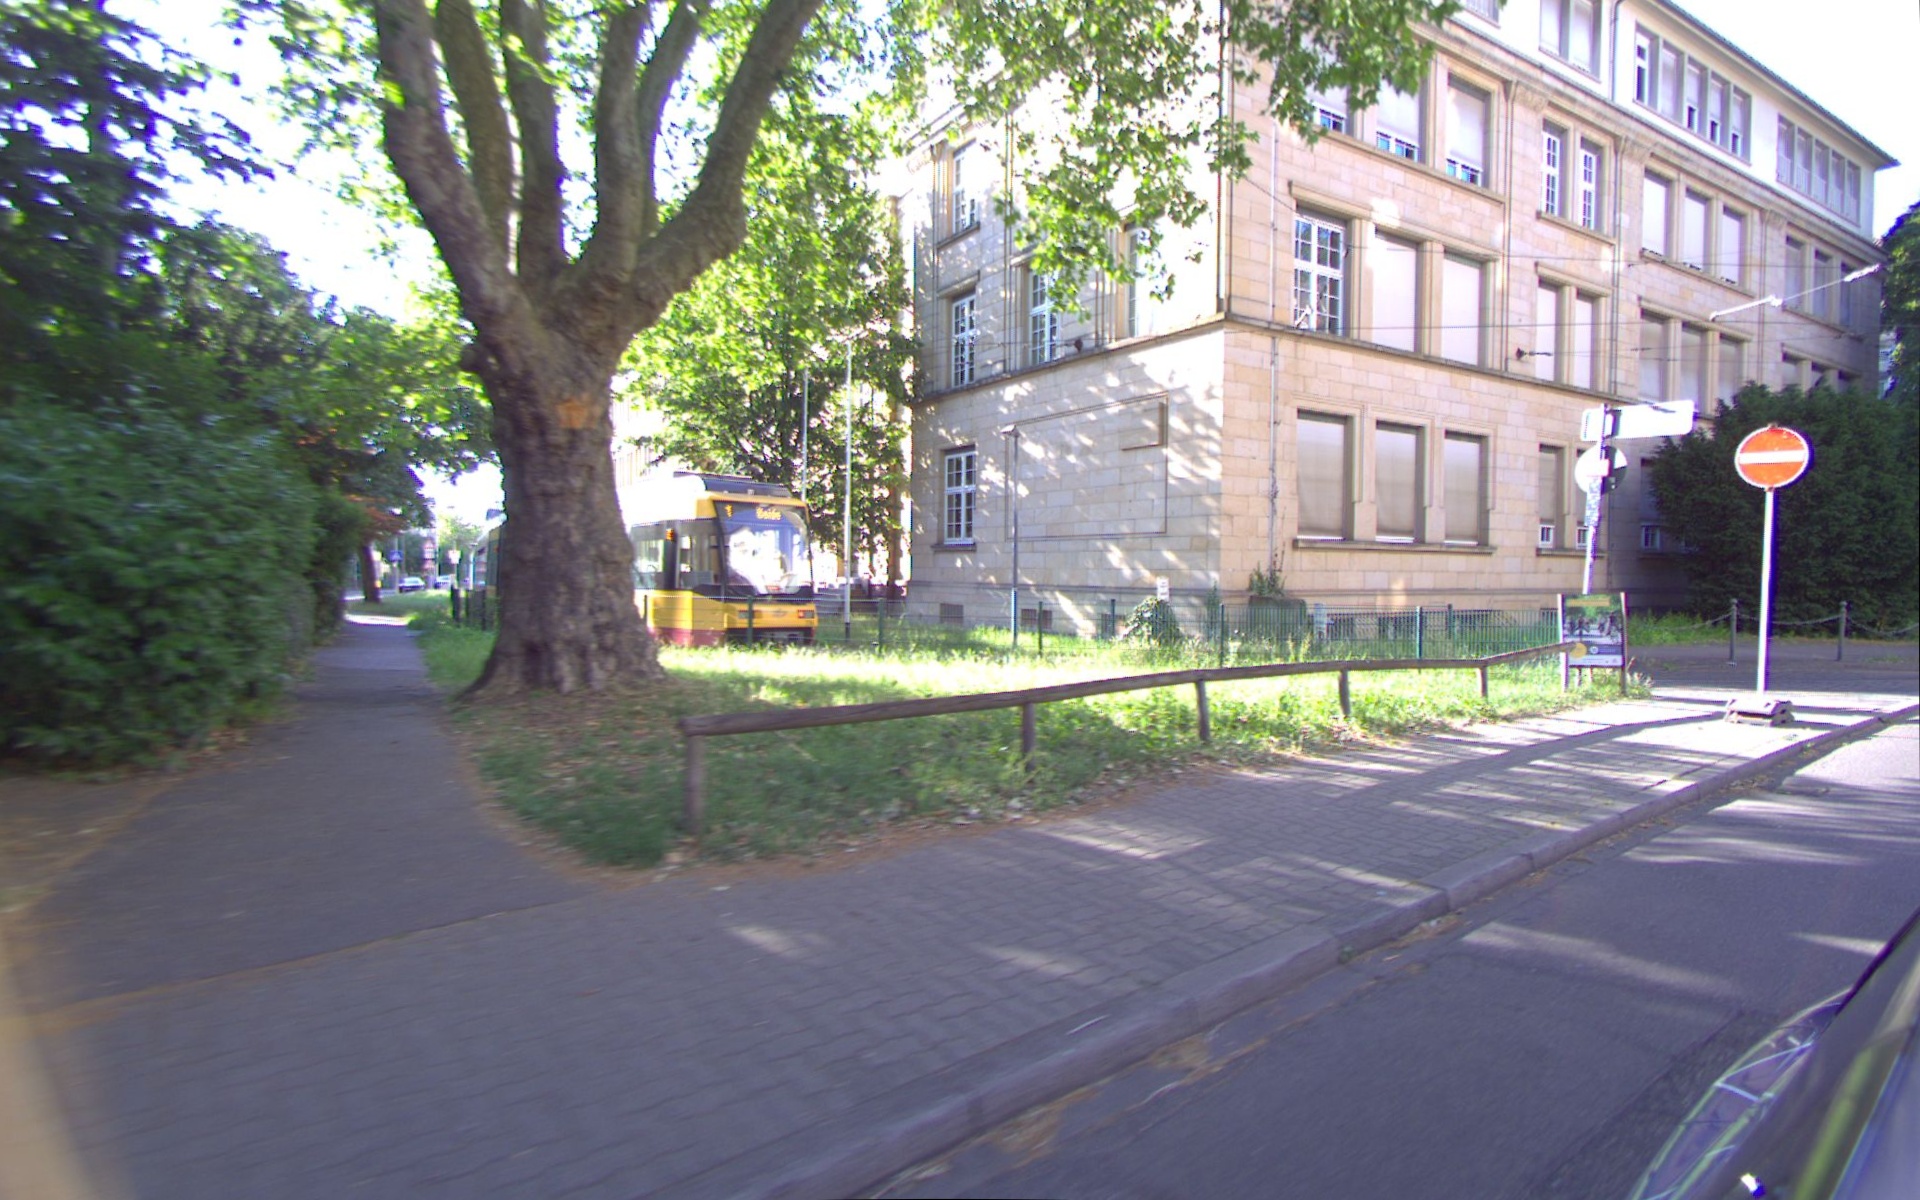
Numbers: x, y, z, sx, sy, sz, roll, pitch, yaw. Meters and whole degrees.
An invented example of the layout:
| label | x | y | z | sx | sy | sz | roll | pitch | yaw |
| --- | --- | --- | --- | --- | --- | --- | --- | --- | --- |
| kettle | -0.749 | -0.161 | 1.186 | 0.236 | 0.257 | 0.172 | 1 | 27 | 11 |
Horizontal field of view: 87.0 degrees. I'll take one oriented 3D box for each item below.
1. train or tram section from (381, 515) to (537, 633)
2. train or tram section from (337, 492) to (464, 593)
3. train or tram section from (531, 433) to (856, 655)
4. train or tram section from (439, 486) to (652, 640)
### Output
| label | x | y | z | sx | sy | sz | roll | pitch | yaw |
| --- | --- | --- | --- | --- | --- | --- | --- | --- | --- |
| train or tram section | -17.516 | -0.804 | 34.959 | 2.749 | 3.563 | 9.255 | -2 | 1 | -40 |
| train or tram section | -23.518 | -2.204 | 42.215 | 2.798 | 3.646 | 9.852 | -2 | 1 | -39 |
| train or tram section | -5.882 | -0.917 | 20.706 | 2.749 | 3.563 | 9.256 | -2 | 1 | -39 |
| train or tram section | -11.690 | -0.861 | 27.844 | 2.749 | 3.563 | 9.256 | -2 | 1 | -39 |
